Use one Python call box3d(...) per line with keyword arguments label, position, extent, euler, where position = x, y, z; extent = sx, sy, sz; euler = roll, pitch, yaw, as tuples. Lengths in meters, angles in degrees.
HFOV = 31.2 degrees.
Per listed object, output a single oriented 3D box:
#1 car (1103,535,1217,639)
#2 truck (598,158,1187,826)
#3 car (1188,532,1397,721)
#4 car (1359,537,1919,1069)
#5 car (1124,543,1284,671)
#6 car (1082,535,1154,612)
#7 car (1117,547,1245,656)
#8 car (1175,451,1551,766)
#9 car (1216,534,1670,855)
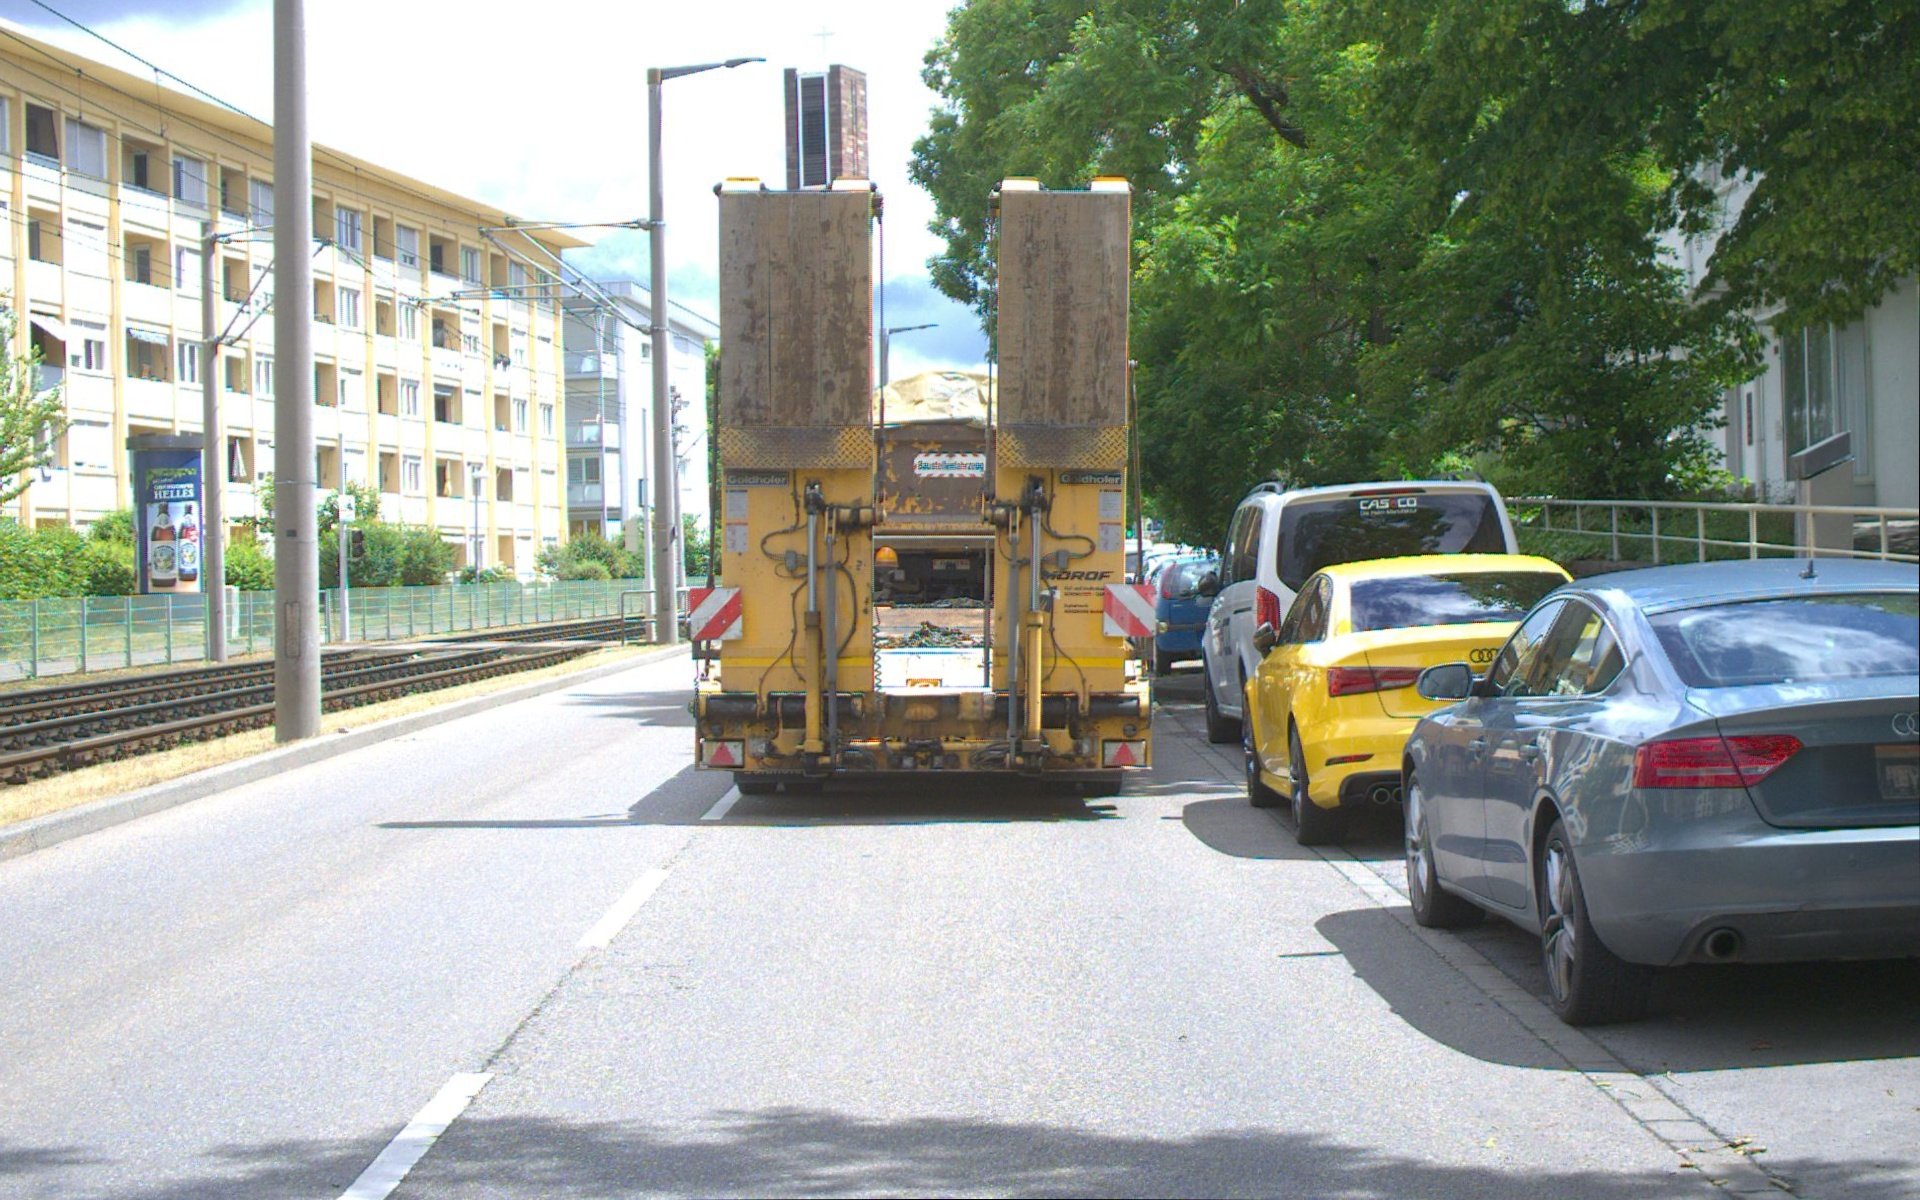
box3d(label="car", position=(3.434, -0.256, 58.845), extent=(1.824, 1.676, 4.575), euler=(-2, 1, 4))
box3d(label="truck", position=(-0.416, -0.692, 24.742), extent=(3.124, 3.552, 12.460), euler=(-1, 1, 0))
box3d(label="car", position=(2.901, 0.199, 30.447), extent=(1.513, 1.528, 2.847), euler=(-2, 1, 0))
box3d(label="car", position=(2.601, 0.527, 11.841), extent=(1.755, 1.437, 4.494), euler=(-2, 1, -2))
box3d(label="car", position=(2.990, 0.056, 42.789), extent=(1.608, 1.451, 3.676), euler=(-2, 1, -1))
box3d(label="car", position=(4.226, -0.729, 92.326), extent=(1.799, 1.961, 4.590), euler=(-2, 1, 2))
box3d(label="car", position=(3.137, -0.008, 49.310), extent=(1.645, 1.485, 3.822), euler=(-1, 1, 1))
box3d(label="car", position=(2.760, 0.009, 24.857), extent=(1.914, 1.952, 5.745), euler=(-2, 1, -1))
box3d(label="car", position=(2.438, 0.411, 18.365), extent=(1.755, 1.437, 4.341), euler=(-2, 1, 0))
